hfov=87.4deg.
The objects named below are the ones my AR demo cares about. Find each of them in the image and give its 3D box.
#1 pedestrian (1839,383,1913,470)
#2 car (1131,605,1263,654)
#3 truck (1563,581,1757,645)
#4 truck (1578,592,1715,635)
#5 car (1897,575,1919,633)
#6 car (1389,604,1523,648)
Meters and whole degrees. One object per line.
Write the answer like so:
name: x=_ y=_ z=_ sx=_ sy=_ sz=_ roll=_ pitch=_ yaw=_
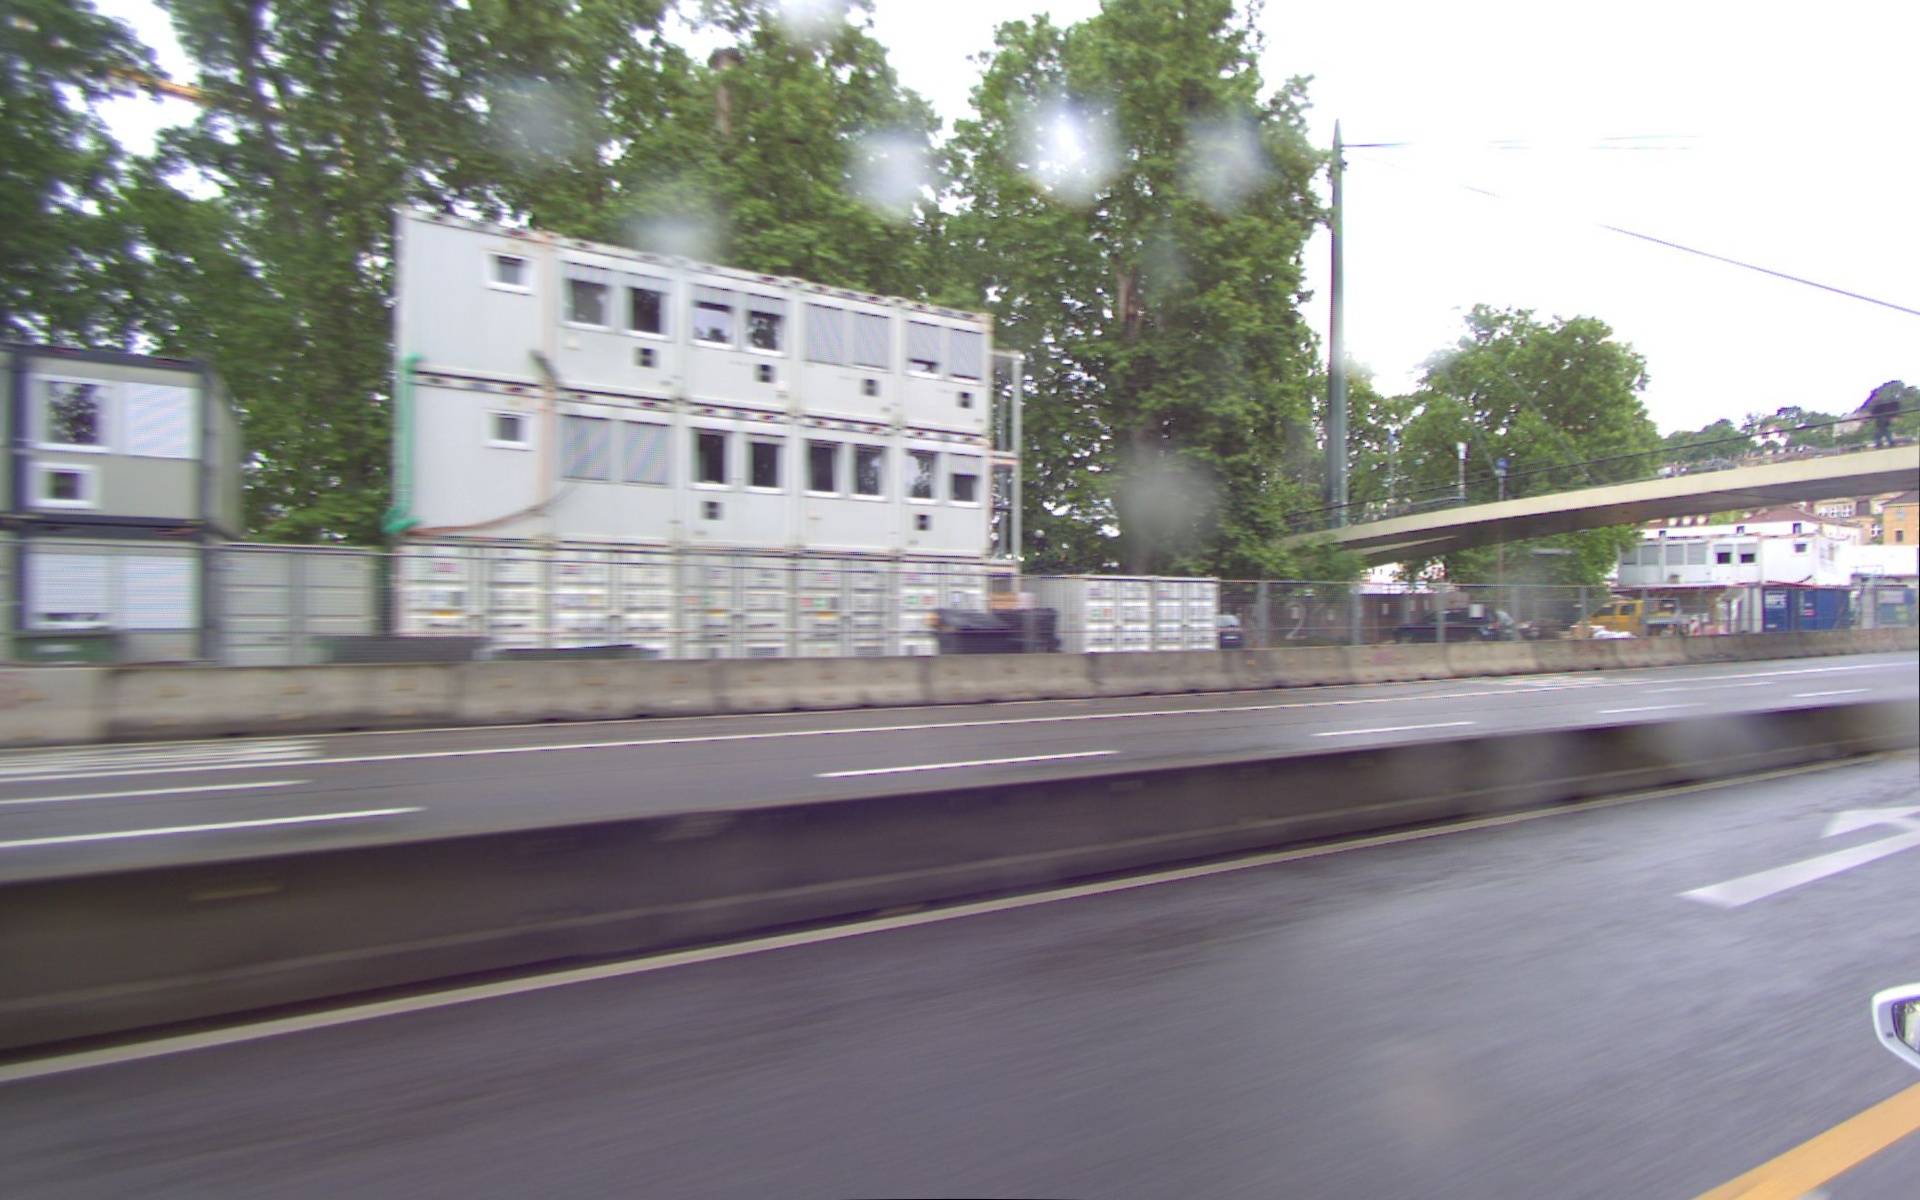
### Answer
pedestrian: x=25.092 y=-4.718 z=27.540 sx=1.044 sy=2.087 sz=1.146 roll=1 pitch=-1 yaw=-22
car: x=7.570 y=0.951 z=32.380 sx=1.977 sy=1.462 sz=3.968 roll=1 pitch=-2 yaw=-30
truck: x=29.482 y=0.595 z=42.548 sx=2.669 sy=2.484 sz=6.232 roll=1 pitch=-2 yaw=-36
truck: x=34.119 y=0.705 z=50.062 sx=2.141 sy=2.040 sz=5.216 roll=0 pitch=-1 yaw=-34
car: x=51.105 y=0.208 z=50.670 sx=5.935 sy=2.913 sz=1.999 roll=0 pitch=-1 yaw=-3
car: x=19.661 y=1.019 z=39.953 sx=1.942 sy=1.649 sz=4.389 roll=1 pitch=-2 yaw=-38
